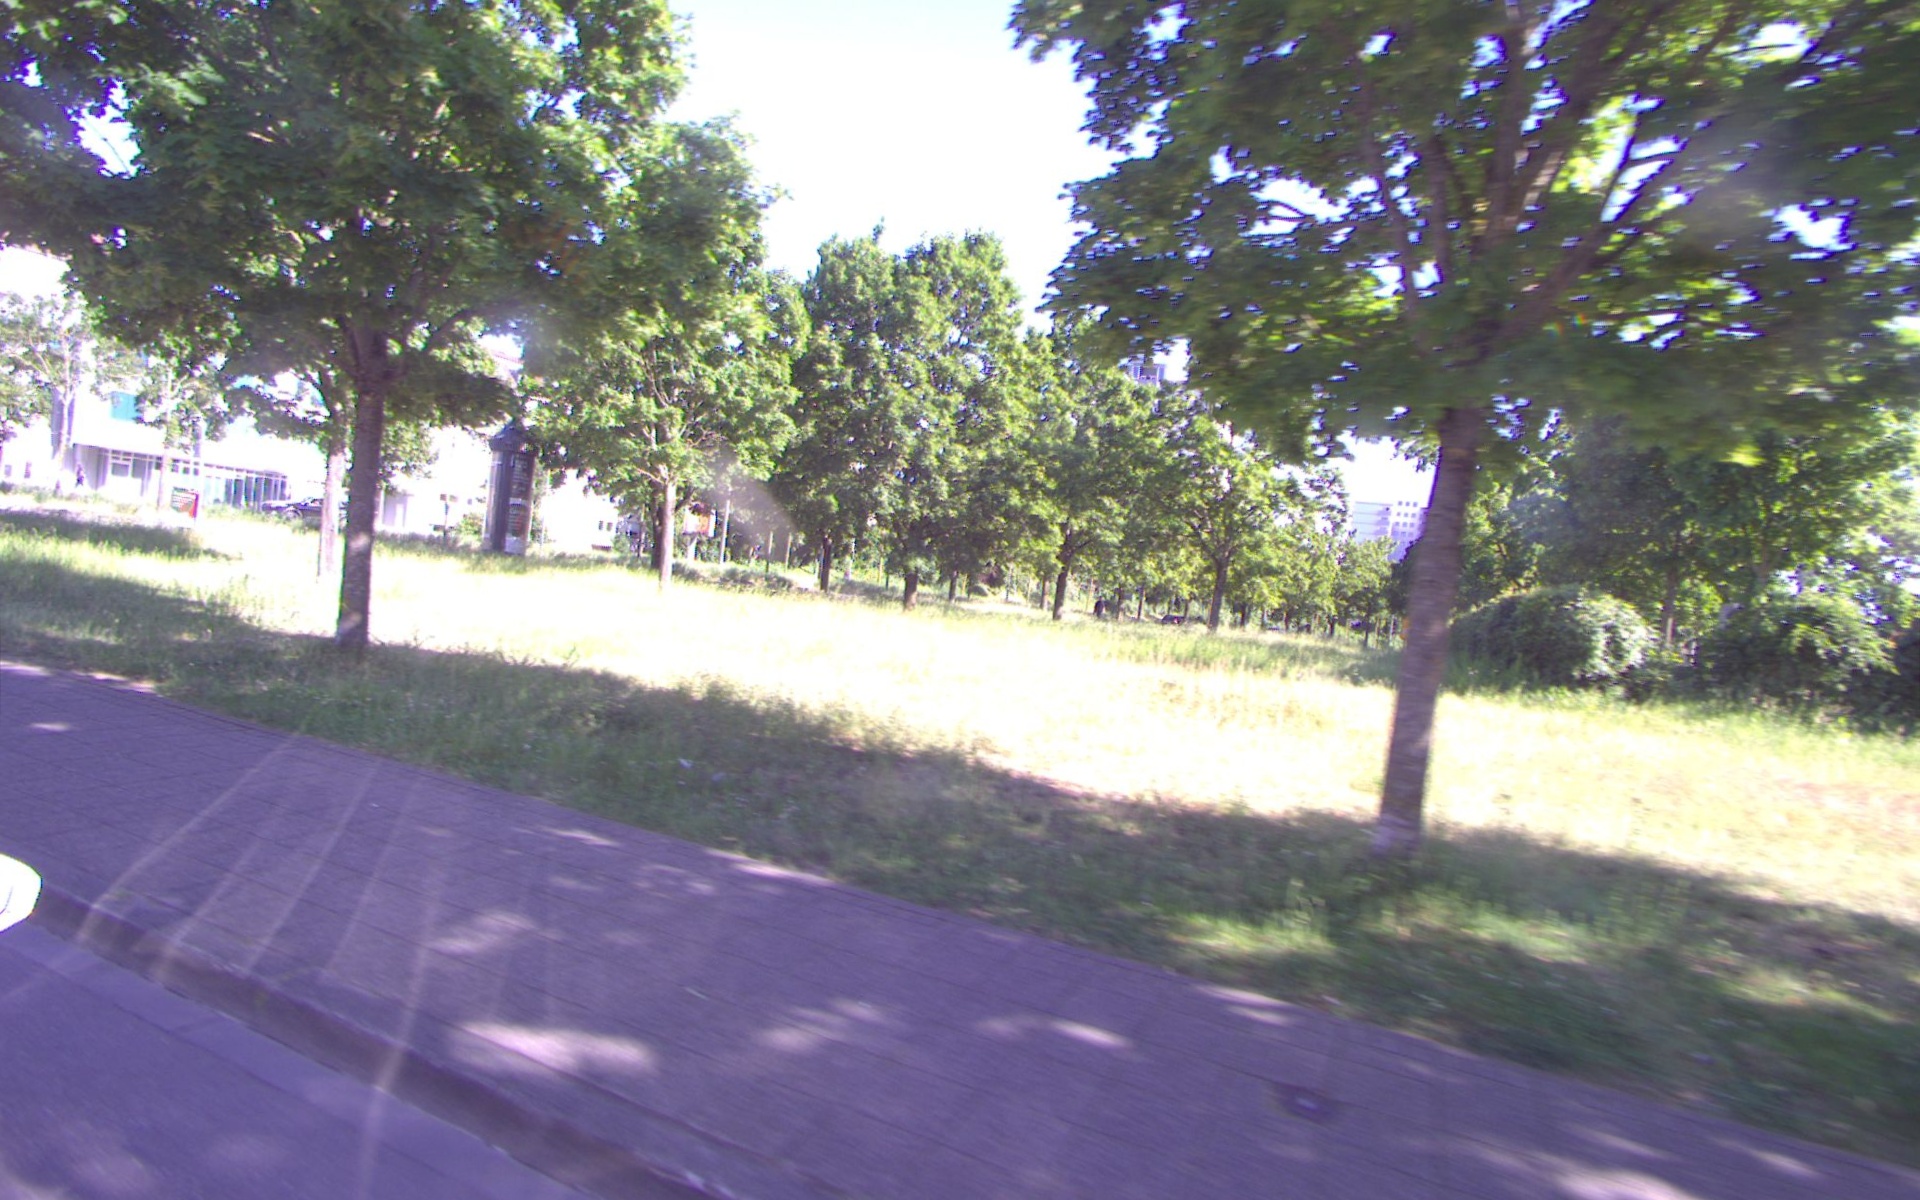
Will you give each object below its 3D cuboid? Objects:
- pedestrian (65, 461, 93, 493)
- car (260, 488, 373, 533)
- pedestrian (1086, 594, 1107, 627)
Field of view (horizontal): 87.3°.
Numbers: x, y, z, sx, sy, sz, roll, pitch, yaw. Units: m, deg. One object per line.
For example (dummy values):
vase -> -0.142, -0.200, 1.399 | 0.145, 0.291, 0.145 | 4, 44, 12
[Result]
pedestrian -> -52.868, -7.370, 60.368 | 0.642, 1.746, 0.992 | 8, 2, 23
car -> -33.612, -4.653, 52.657 | 1.968, 1.630, 4.502 | 8, 1, 33
pedestrian -> 7.573, 0.602, 55.826 | 0.727, 1.749, 0.887 | 8, 2, 28
